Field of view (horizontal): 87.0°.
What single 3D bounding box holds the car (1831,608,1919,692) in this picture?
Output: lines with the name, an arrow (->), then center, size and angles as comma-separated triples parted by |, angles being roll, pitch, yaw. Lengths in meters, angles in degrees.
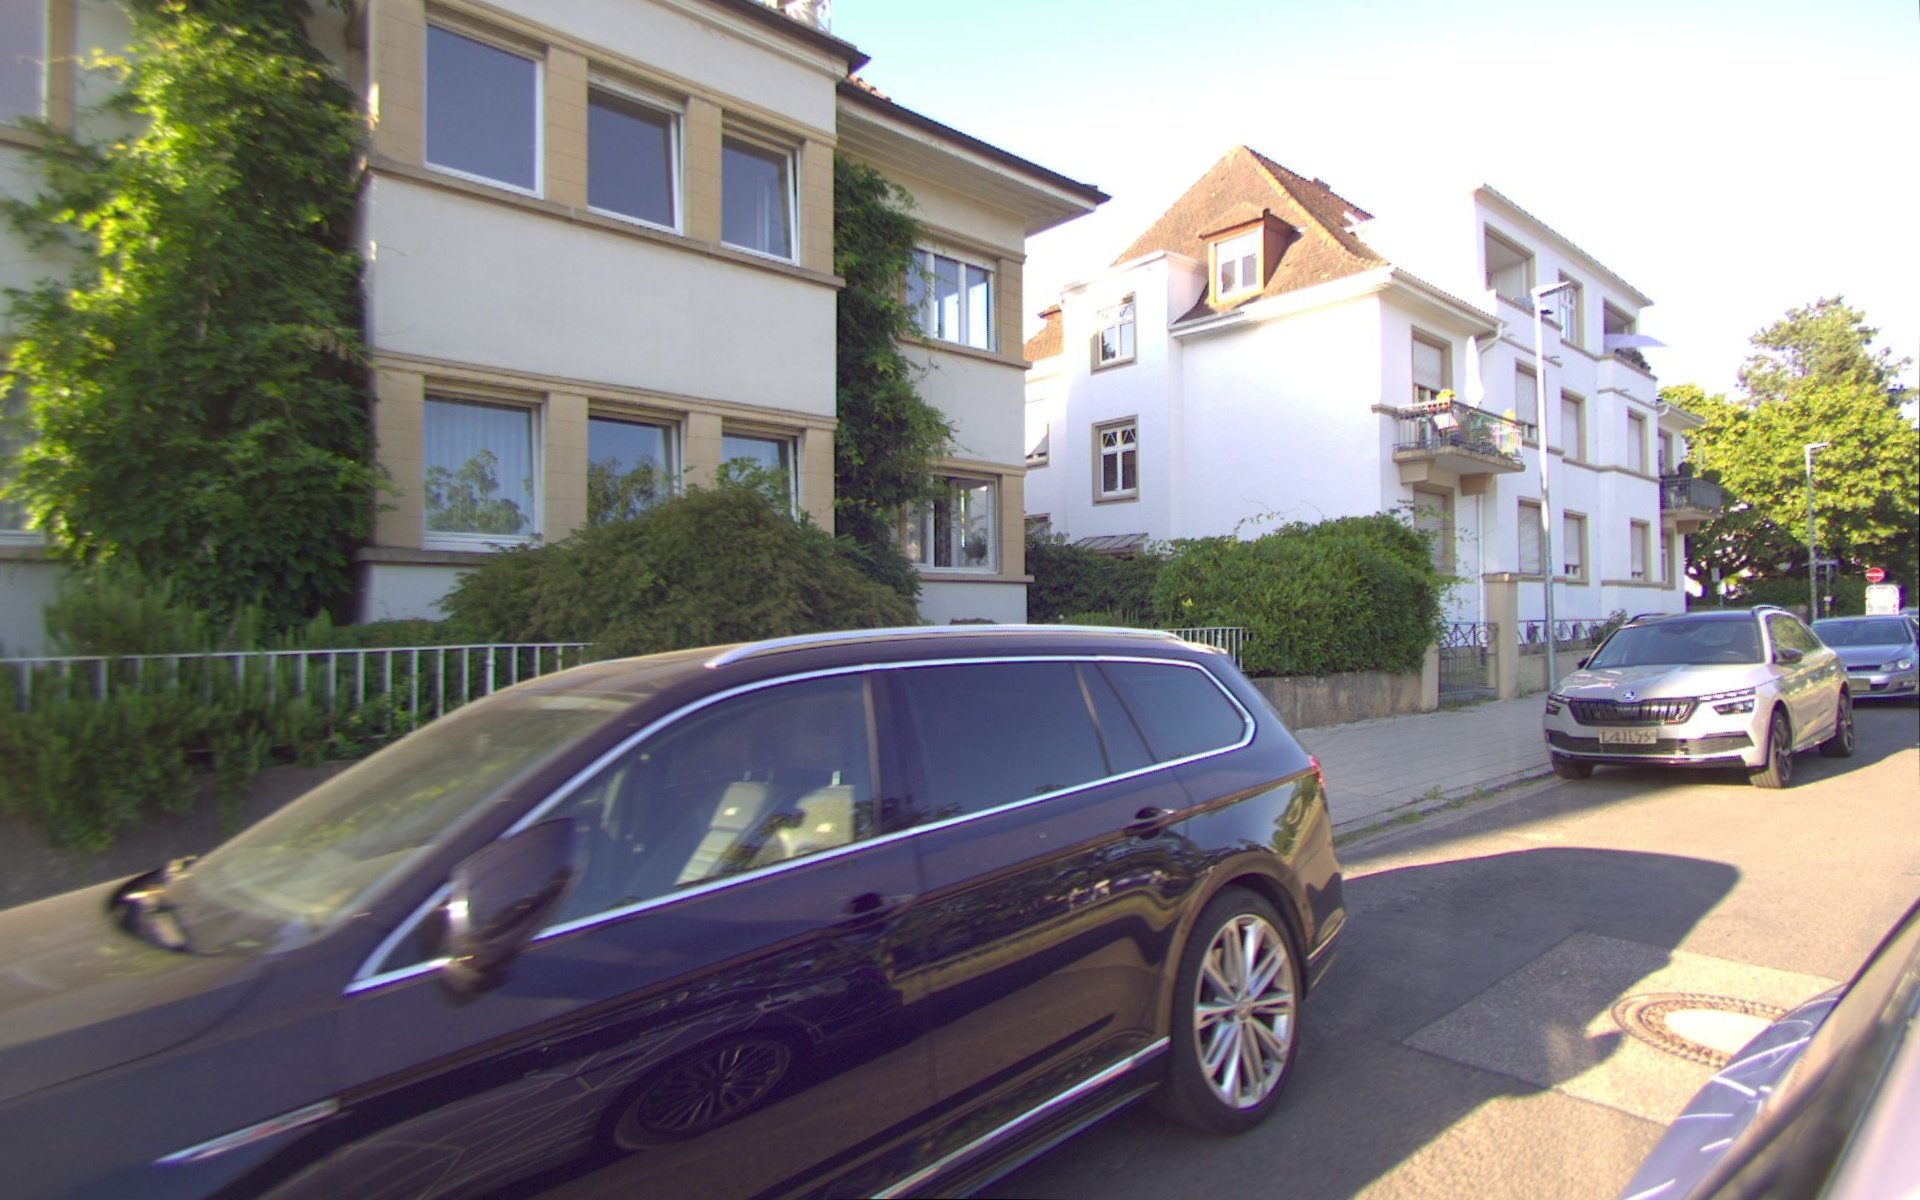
car -> 18.868, 0.911, 20.098 | 4.231, 1.454, 1.763 | -1, -6, -43

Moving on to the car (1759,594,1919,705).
car -> 14.967, 0.838, 16.677 | 4.485, 1.580, 1.913 | 2, -6, -41

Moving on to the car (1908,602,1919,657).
car -> 29.630, 0.735, 29.773 | 4.508, 1.554, 1.878 | -1, -6, -40

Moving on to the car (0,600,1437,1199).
car -> -0.782, 0.911, 2.772 | 4.803, 1.618, 1.995 | -1, -4, -42

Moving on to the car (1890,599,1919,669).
car -> 25.378, 0.767, 25.917 | 4.507, 1.670, 1.802 | -1, -5, -43

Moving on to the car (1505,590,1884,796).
car -> 7.333, 0.765, 9.940 | 4.382, 1.556, 1.886 | -1, -3, -40
